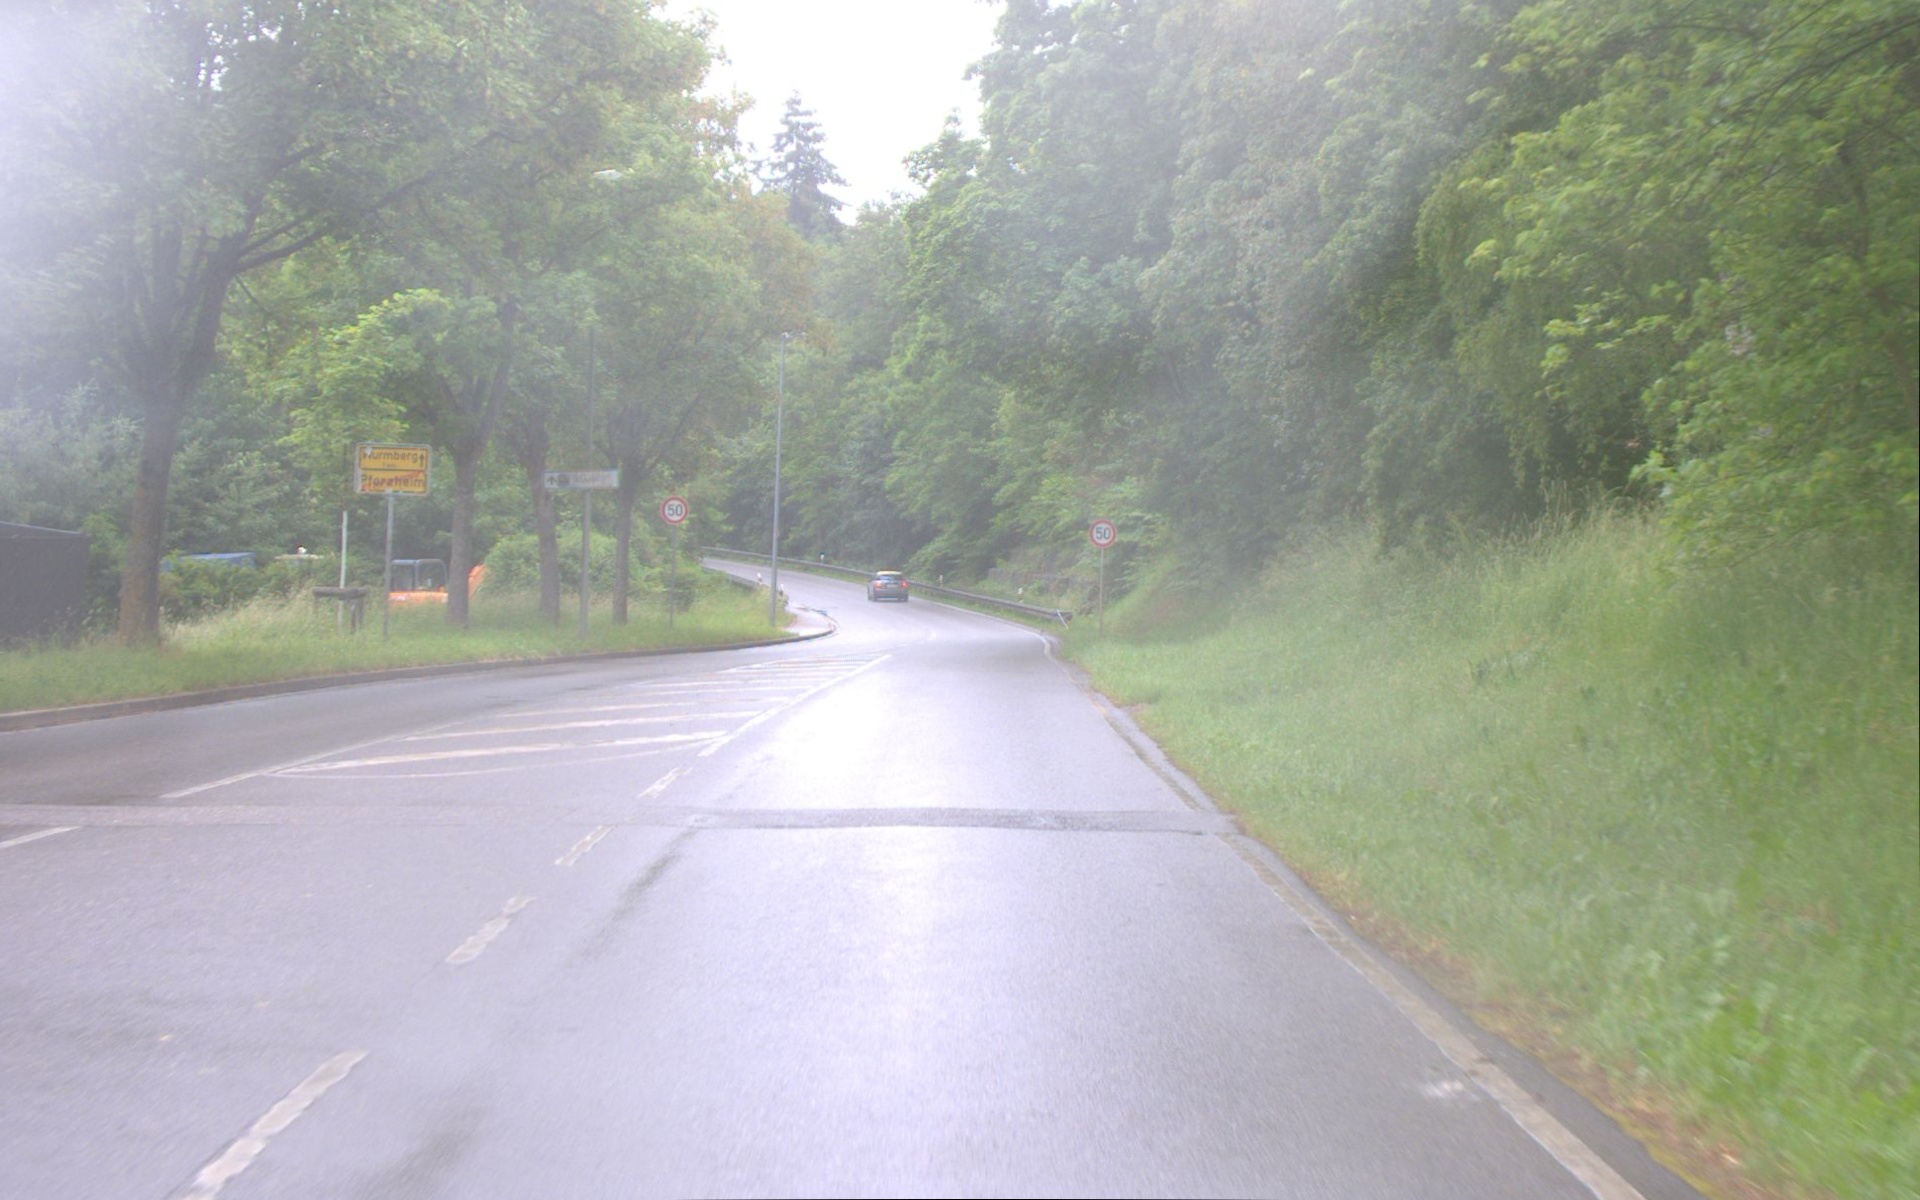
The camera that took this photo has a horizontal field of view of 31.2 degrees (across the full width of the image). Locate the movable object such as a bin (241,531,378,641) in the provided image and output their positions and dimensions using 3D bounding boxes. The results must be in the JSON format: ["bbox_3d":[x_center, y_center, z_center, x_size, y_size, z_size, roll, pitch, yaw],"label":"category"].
[{"bbox_3d":[-17.540,-0.354,92.868,1.995,2.851,3.997,2,0,15],"label":"movable object such as a bin"}]

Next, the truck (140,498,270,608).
[{"bbox_3d":[-17.873,-1.130,81.630,1.993,2.449,5.223,2,1,-2],"label":"truck"}]

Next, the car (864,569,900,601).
[{"bbox_3d":[-3.854,-0.738,169.942,1.736,1.505,4.000,0,1,-2],"label":"car"}]

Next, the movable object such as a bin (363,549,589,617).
[{"bbox_3d":[-13.927,-0.461,99.571,1.849,1.901,7.893,1,0,31],"label":"movable object such as a bin"}]
